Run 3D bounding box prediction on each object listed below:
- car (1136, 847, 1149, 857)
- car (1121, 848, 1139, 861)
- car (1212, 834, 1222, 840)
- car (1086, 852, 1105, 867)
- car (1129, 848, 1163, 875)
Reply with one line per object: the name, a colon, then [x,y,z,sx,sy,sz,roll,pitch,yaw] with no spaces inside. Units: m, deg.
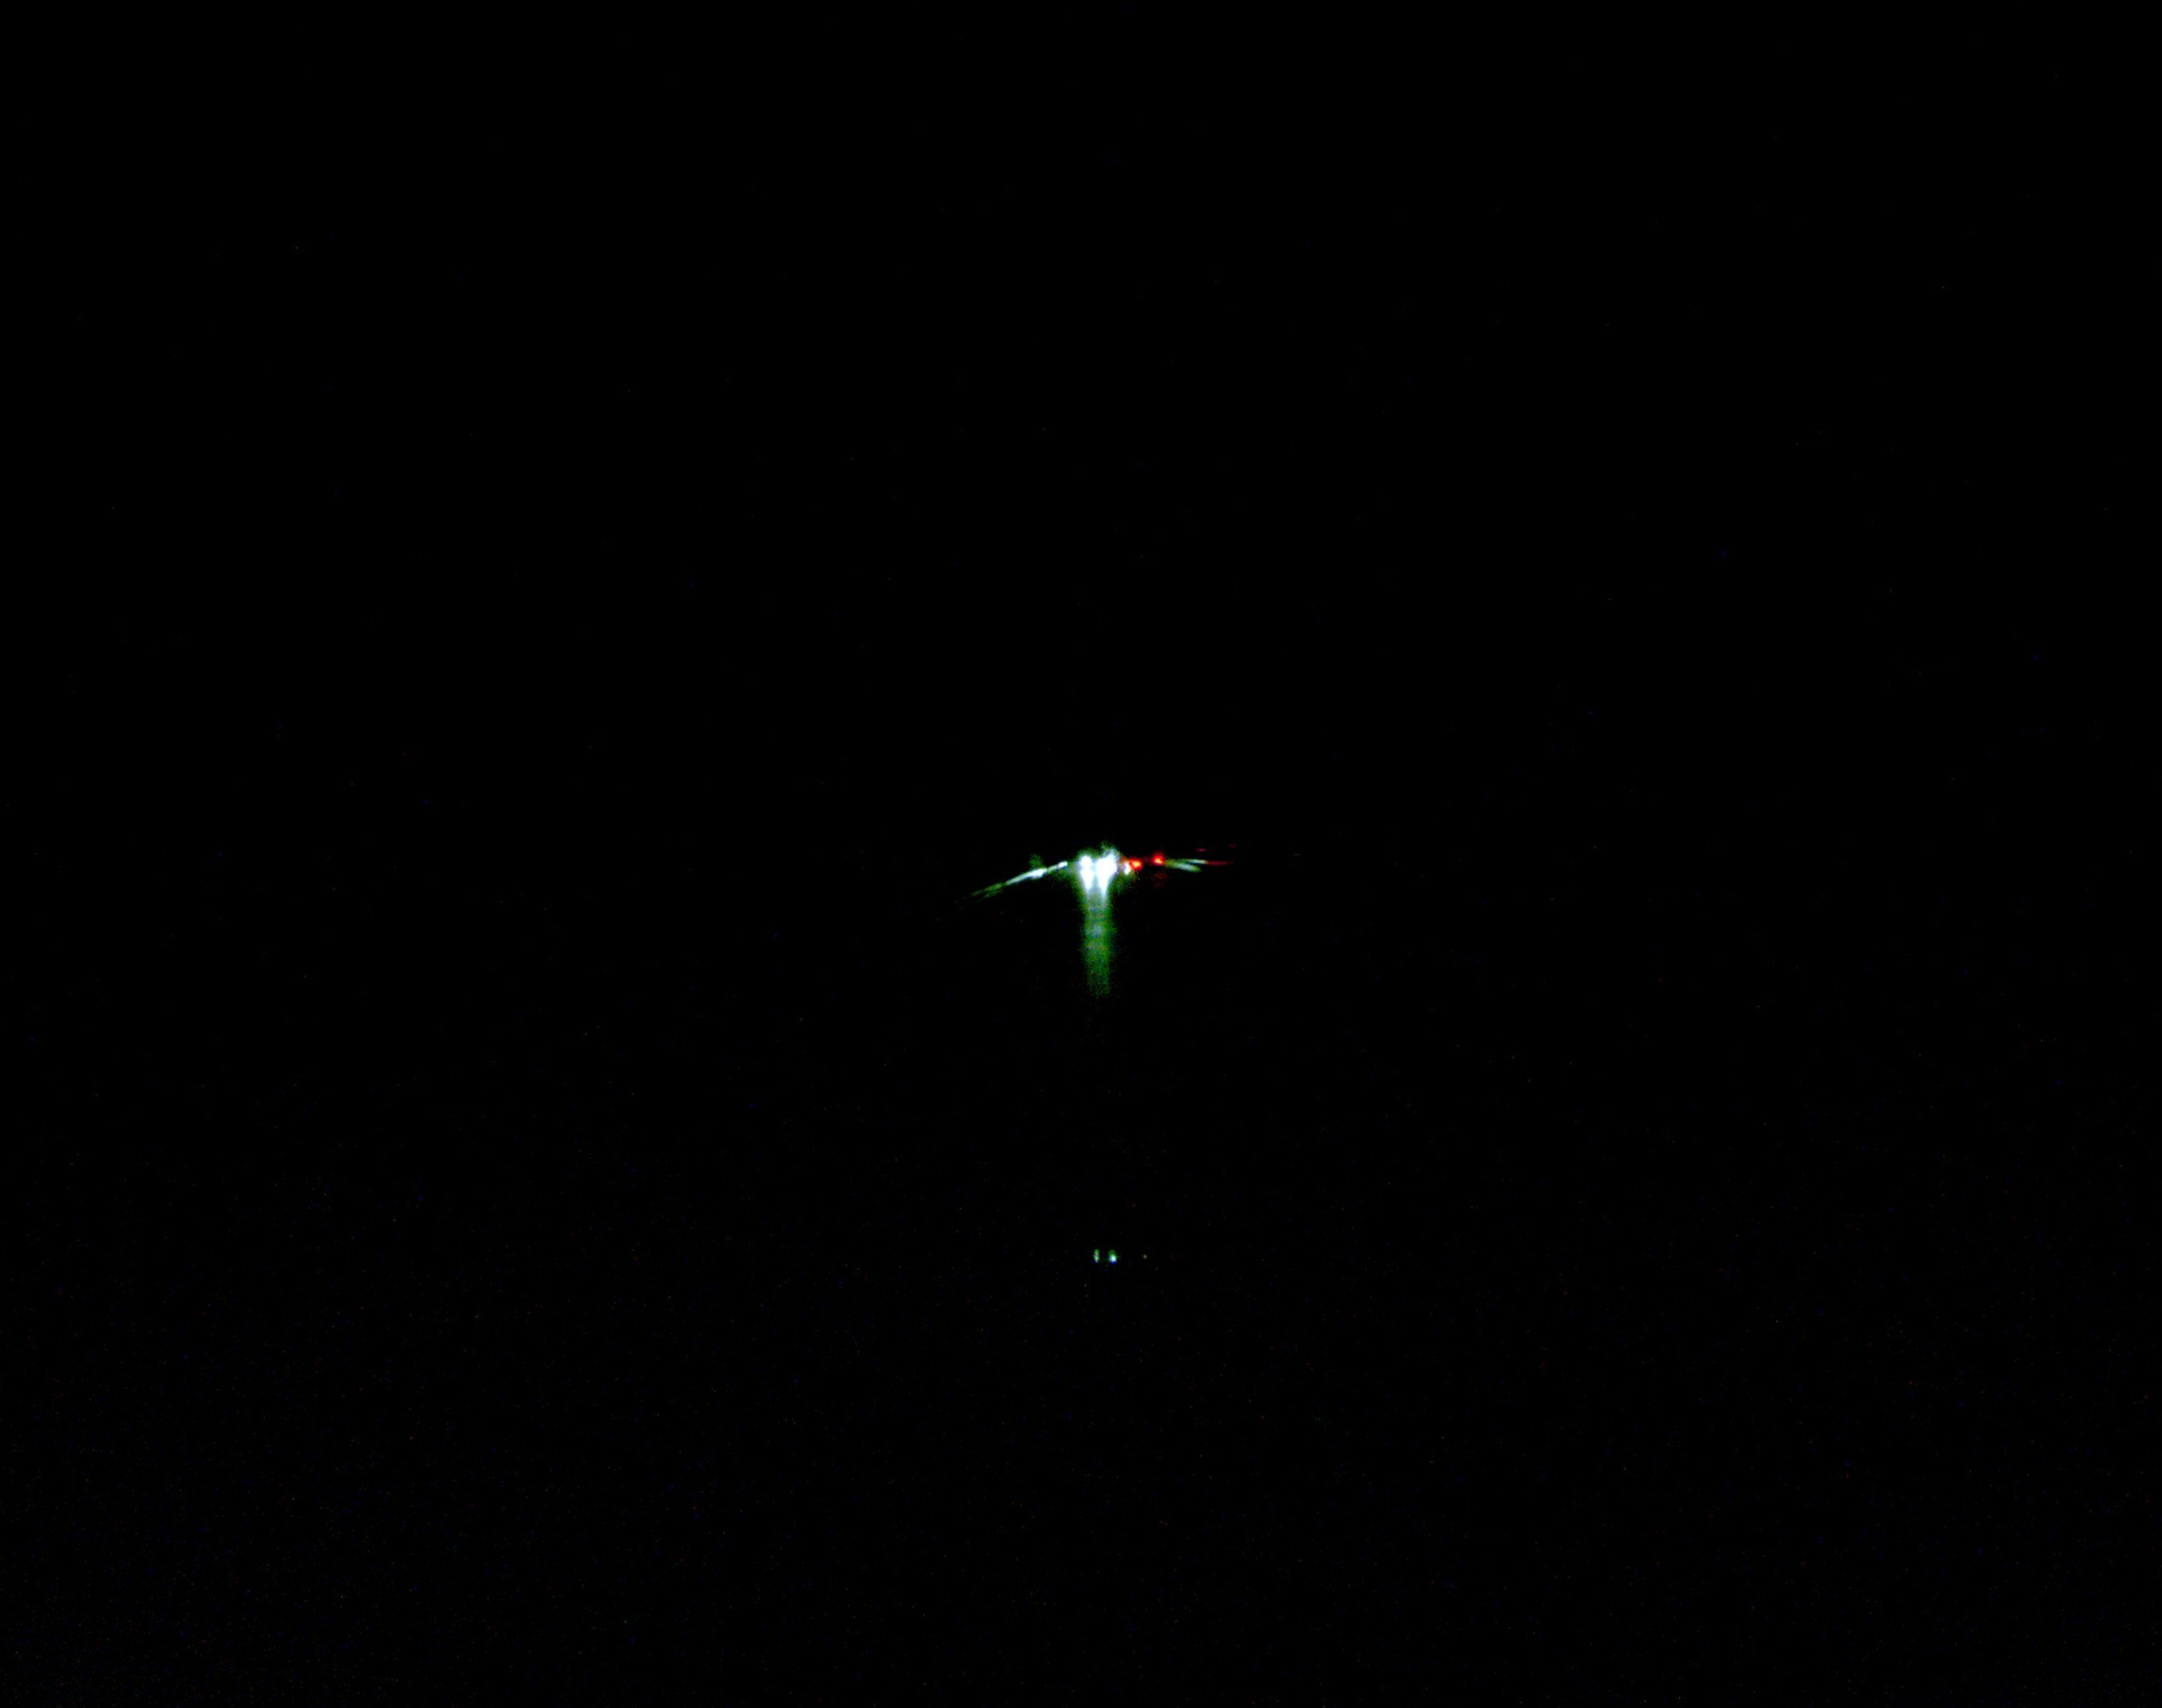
car: [9.679,-0.379,119.726,1.998,1.463,3.837,-2,0,4]
car: [5.654,0.025,88.000,1.810,1.331,4.188,-2,1,2]
car: [40.151,-5.024,224.158,1.995,1.915,4.006,-1,1,25]
car: [1.533,0.547,80.445,1.807,1.452,4.276,-2,0,3]
car: [4.167,0.445,49.262,1.839,1.536,4.645,-2,1,1]
